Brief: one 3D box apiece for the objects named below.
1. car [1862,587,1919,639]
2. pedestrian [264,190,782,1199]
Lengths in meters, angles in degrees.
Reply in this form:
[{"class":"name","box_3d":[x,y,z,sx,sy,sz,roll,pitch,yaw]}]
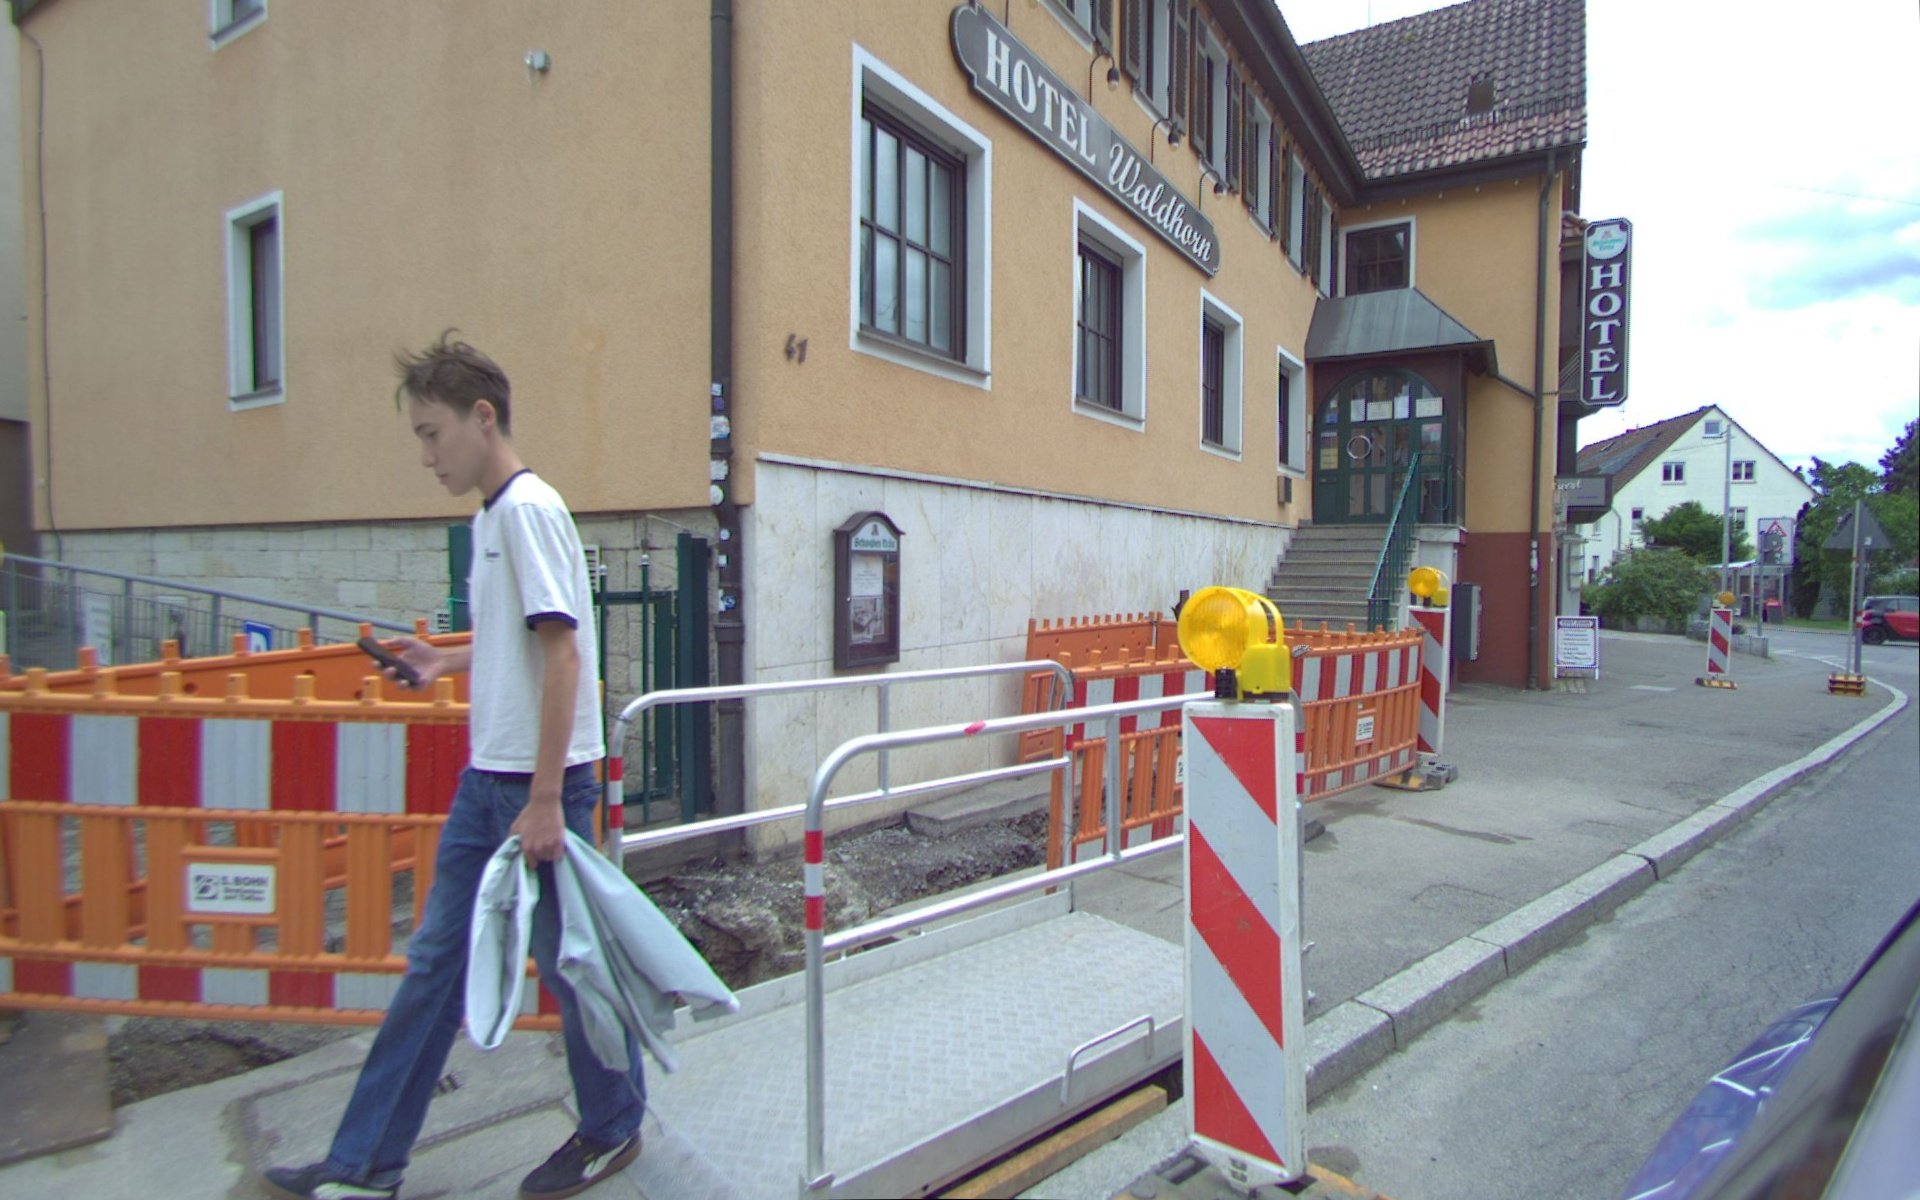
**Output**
[{"class":"car","box_3d":[29.706,0.412,30.958,2.923,1.539,1.796,2,2,37]},{"class":"pedestrian","box_3d":[-0.981,0.300,2.246,0.822,1.974,0.799,0,2,-42]}]
